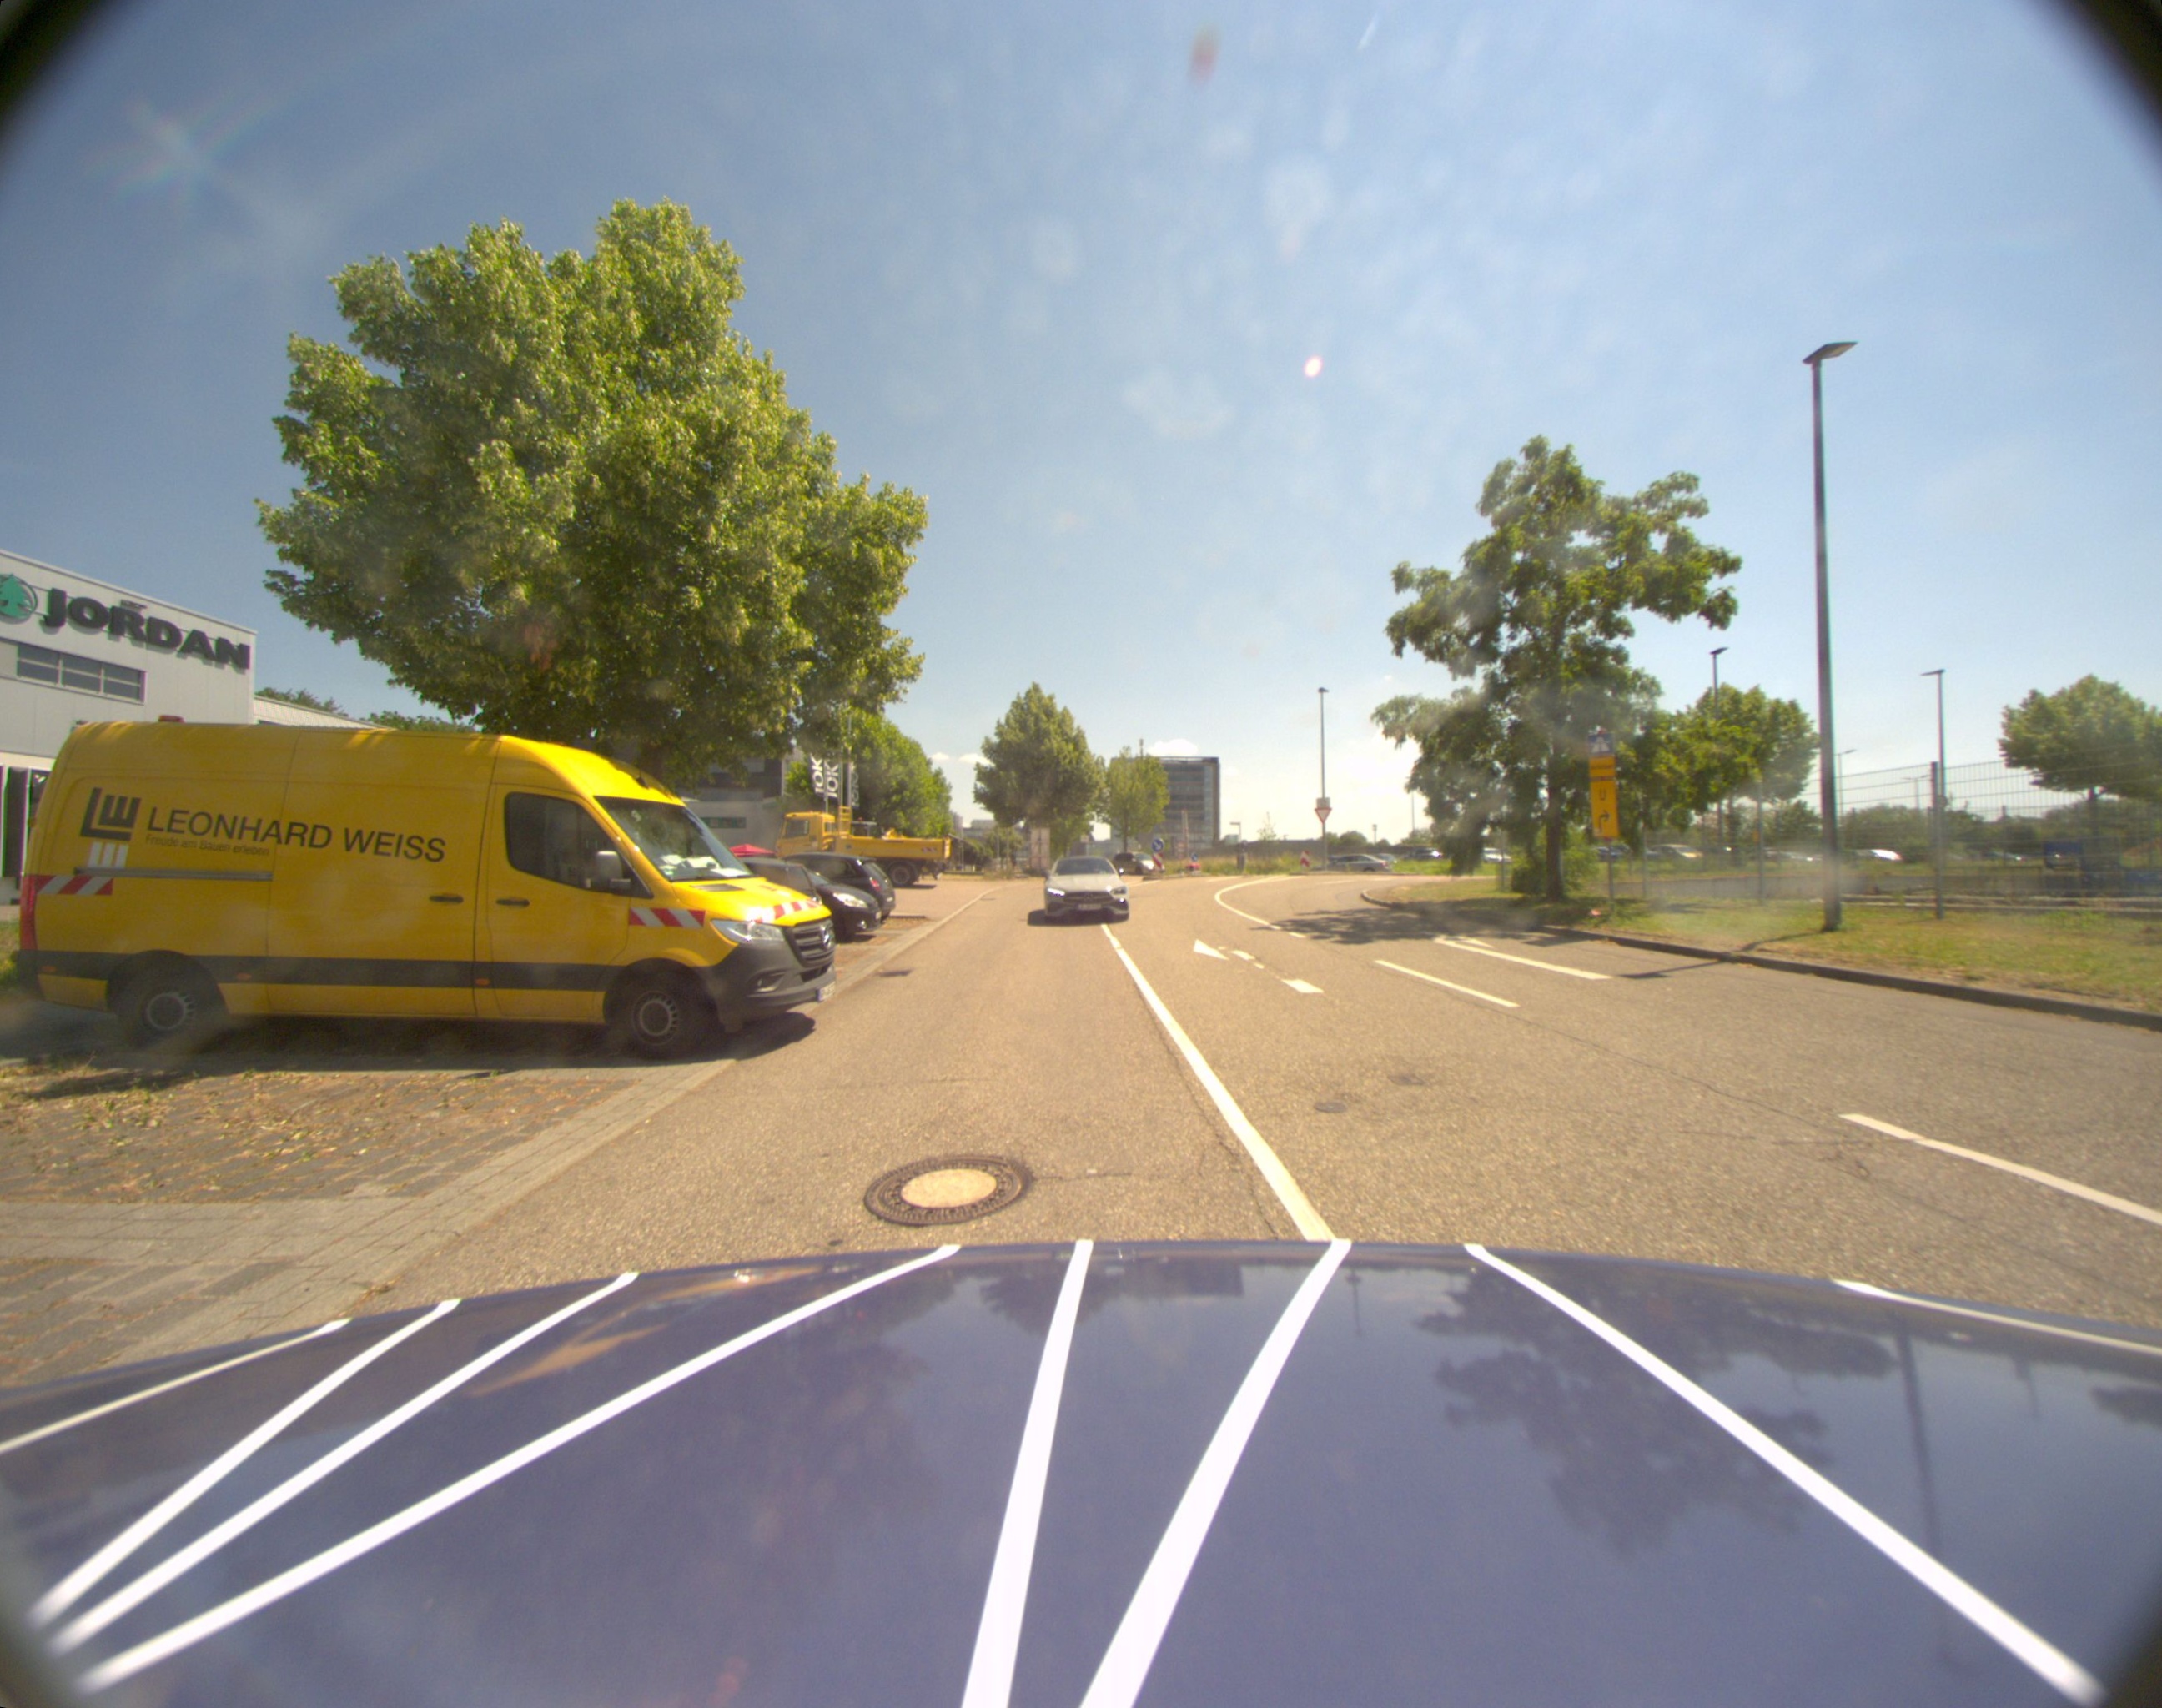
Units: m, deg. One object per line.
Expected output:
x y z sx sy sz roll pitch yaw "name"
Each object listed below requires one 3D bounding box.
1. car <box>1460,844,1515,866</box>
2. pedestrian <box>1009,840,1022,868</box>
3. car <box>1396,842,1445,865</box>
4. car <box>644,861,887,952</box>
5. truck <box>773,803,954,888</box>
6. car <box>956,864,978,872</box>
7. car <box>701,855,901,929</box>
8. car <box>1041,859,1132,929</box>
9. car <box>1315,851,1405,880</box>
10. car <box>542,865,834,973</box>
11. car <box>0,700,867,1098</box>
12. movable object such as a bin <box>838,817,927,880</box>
27.651 0.070 51.798 1.574 1.289 3.878 -3 -2 -1 "car"
-4.038 -0.002 46.663 0.578 1.659 0.532 -3 -3 25 "pedestrian"
27.863 0.002 62.503 1.776 1.679 4.605 0 -2 -4 "car"
-5.615 0.907 13.889 3.781 1.498 1.590 0 0 -4 "car"
-8.289 -0.334 29.666 6.423 3.119 2.593 0 1 -6 "truck"
-20.718 2.535 138.418 3.842 1.266 1.609 -1 -1 -3 "car"
-5.902 0.781 16.324 3.670 1.454 1.627 1 0 -2 "car"
0.095 0.851 18.274 1.897 1.375 4.632 0 1 -1 "car"
15.864 0.696 43.265 4.486 1.365 1.678 -4 -5 30 "car"
-5.862 0.934 11.693 3.612 1.470 1.627 -1 0 -4 "car"
-5.121 0.366 6.669 5.794 2.716 2.000 3 -1 -1 "car"
-8.918 -0.265 34.871 1.998 2.566 6.578 -1 1 3 "movable object such as a bin"
